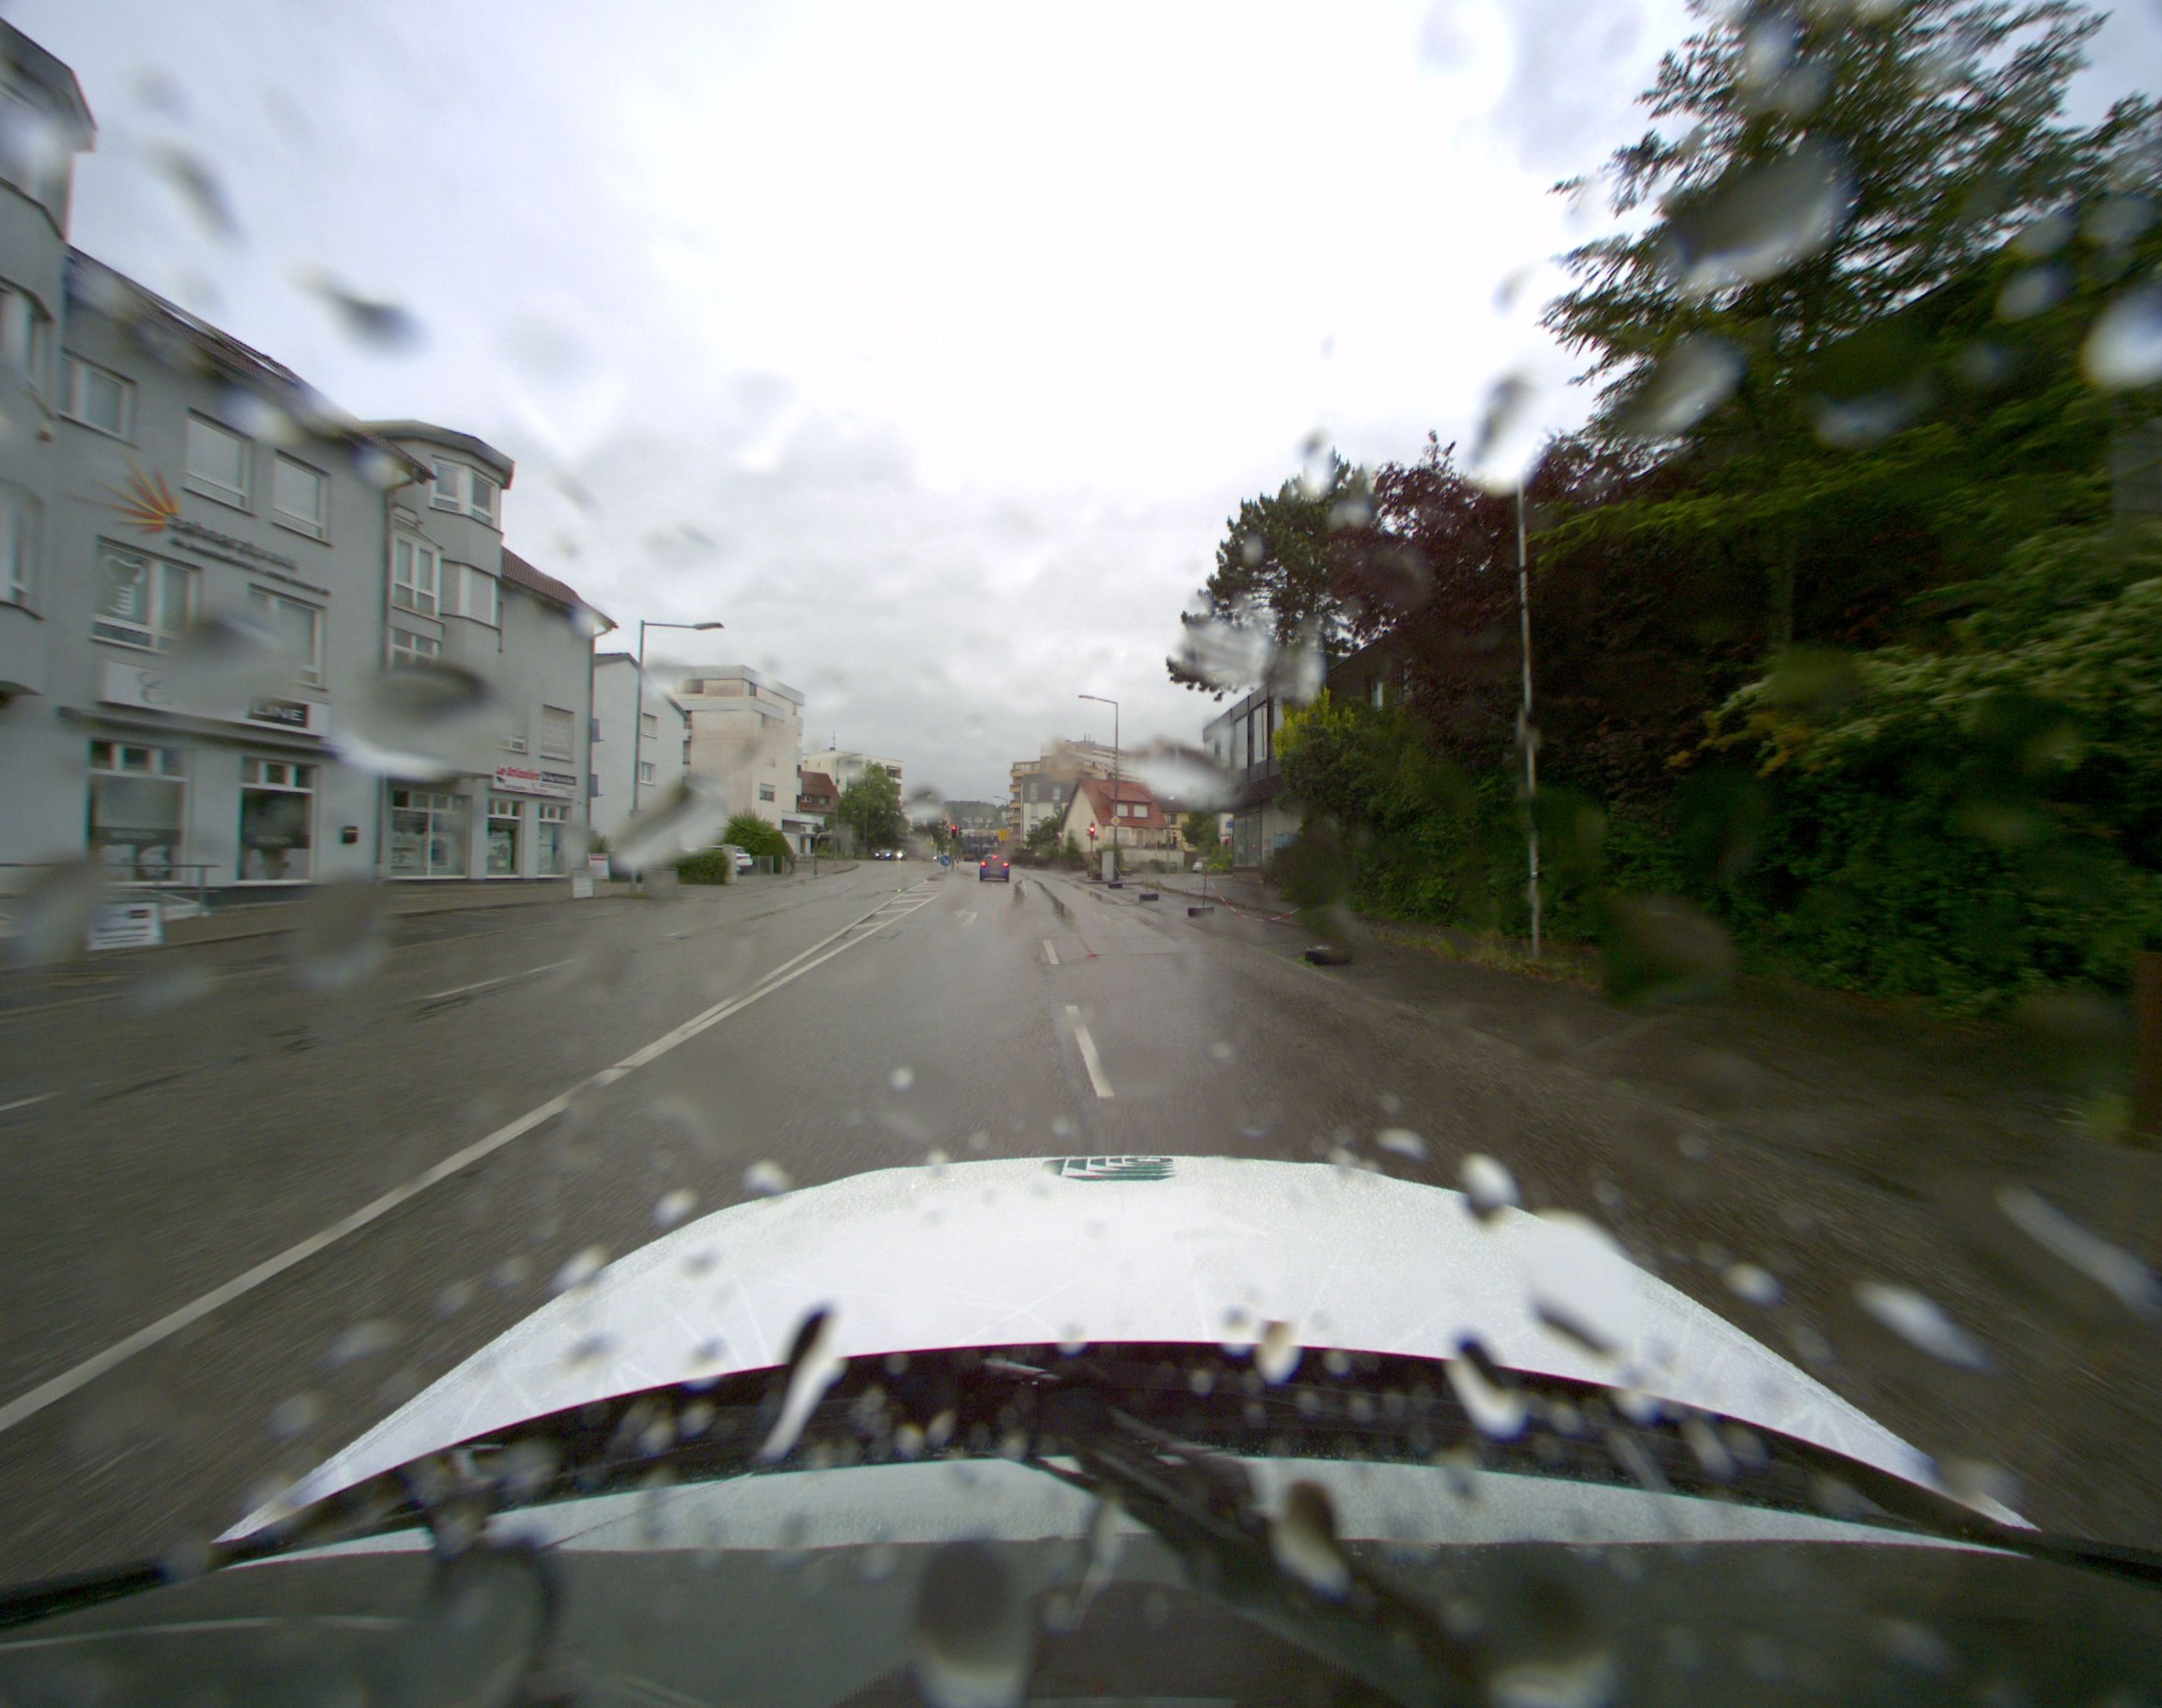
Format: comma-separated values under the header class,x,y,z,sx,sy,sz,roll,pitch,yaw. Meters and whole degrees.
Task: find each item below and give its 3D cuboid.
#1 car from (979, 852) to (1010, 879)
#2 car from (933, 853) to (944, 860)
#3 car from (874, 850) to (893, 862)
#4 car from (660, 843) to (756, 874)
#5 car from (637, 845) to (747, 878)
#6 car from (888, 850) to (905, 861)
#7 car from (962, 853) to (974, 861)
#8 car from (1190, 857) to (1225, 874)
class,x,y,z,sx,sy,sz,roll,pitch,yaw
car,-4.737,0.631,45.047,1.576,1.411,3.265,2,0,-5
car,-27.793,0.475,159.262,1.776,1.420,3.824,1,0,-5
car,-24.547,0.216,101.229,1.776,1.420,3.824,1,0,-5
car,-20.729,0.227,45.370,4.429,1.637,1.942,1,0,5
car,-18.109,0.339,38.056,4.205,1.474,1.904,1,0,0
car,-24.541,0.211,108.449,1.712,1.387,4.013,1,0,-5
car,-20.390,0.548,147.335,1.809,1.486,4.183,0,0,-4
car,11.869,1.082,76.060,1.723,1.514,4.025,1,0,32
